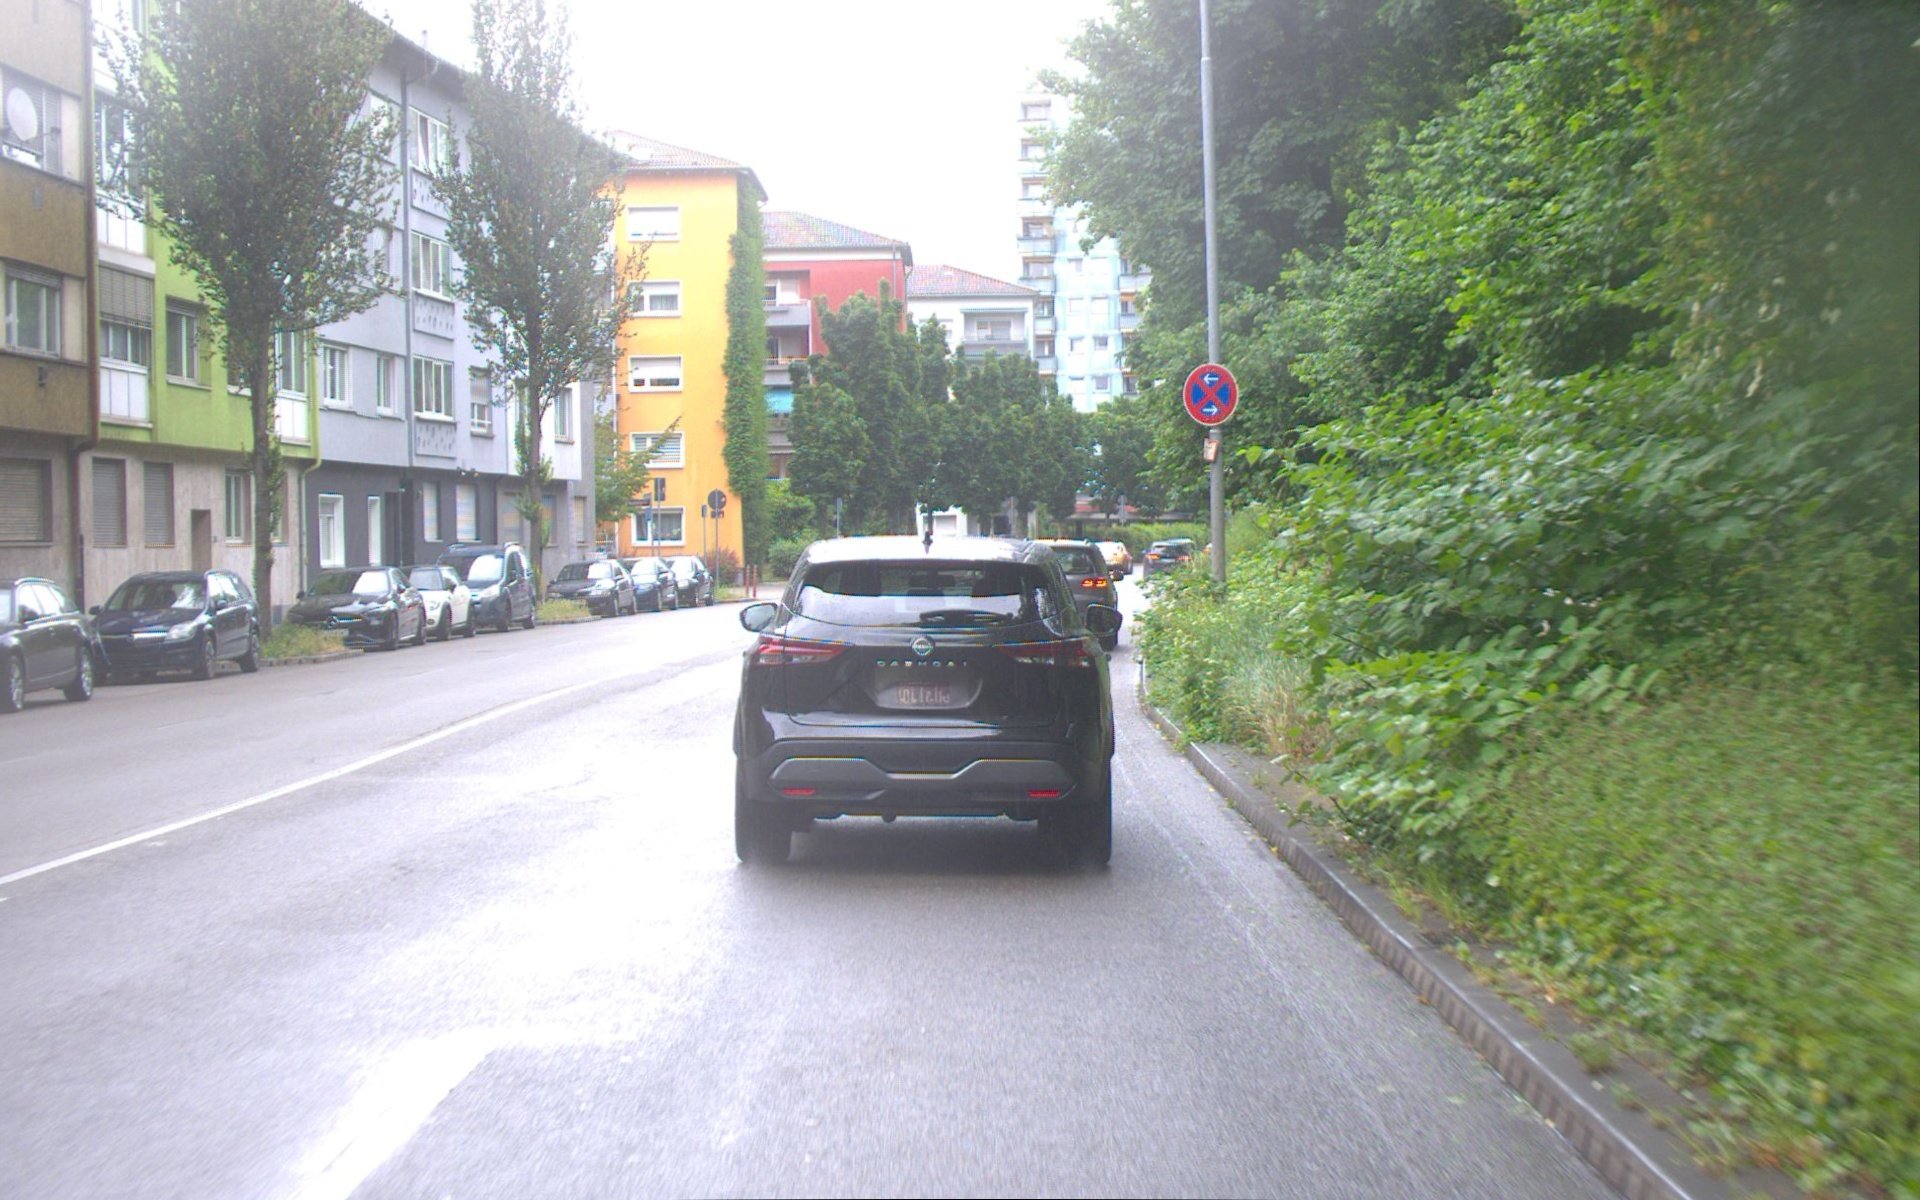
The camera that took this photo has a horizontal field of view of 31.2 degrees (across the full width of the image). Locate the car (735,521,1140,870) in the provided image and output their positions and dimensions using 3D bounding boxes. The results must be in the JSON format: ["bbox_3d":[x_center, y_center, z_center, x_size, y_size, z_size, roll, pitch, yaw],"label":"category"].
[{"bbox_3d":[-0.151,0.394,17.787,1.844,1.577,4.001,1,1,-1],"label":"car"}]

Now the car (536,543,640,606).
[{"bbox_3d":[-9.003,-0.647,83.507,1.688,1.353,4.579,-4,1,4],"label":"car"}]

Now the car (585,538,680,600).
[{"bbox_3d":[-8.469,-0.823,89.287,1.681,1.444,4.275,-3,1,4],"label":"car"}]

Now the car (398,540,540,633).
[{"bbox_3d":[-10.028,-0.310,70.546,1.891,1.760,4.600,-2,1,4],"label":"car"}]

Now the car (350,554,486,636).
[{"bbox_3d":[-10.161,-0.122,64.685,1.680,1.371,4.000,-3,1,3],"label":"car"}]

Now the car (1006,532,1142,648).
[{"bbox_3d":[1.786,-0.190,52.715,1.887,1.705,3.999,0,1,5],"label":"car"}]

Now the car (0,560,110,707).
[{"bbox_3d":[-10.979,0.364,38.139,1.817,1.483,4.790,-2,1,0],"label":"car"}]

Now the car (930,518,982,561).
[{"bbox_3d":[-0.133,-2.206,124.970,1.706,1.473,3.680,-1,1,3],"label":"car"}]

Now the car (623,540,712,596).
[{"bbox_3d":[-8.071,-0.902,95.141,1.713,1.420,4.322,-3,1,5],"label":"car"}]

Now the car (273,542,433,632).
[{"bbox_3d":[-10.387,-0.249,59.168,1.817,1.367,4.681,-2,1,1],"label":"car"}]

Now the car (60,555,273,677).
[{"bbox_3d":[-10.885,0.184,47.486,1.718,1.483,4.515,-2,1,2],"label":"car"}]
